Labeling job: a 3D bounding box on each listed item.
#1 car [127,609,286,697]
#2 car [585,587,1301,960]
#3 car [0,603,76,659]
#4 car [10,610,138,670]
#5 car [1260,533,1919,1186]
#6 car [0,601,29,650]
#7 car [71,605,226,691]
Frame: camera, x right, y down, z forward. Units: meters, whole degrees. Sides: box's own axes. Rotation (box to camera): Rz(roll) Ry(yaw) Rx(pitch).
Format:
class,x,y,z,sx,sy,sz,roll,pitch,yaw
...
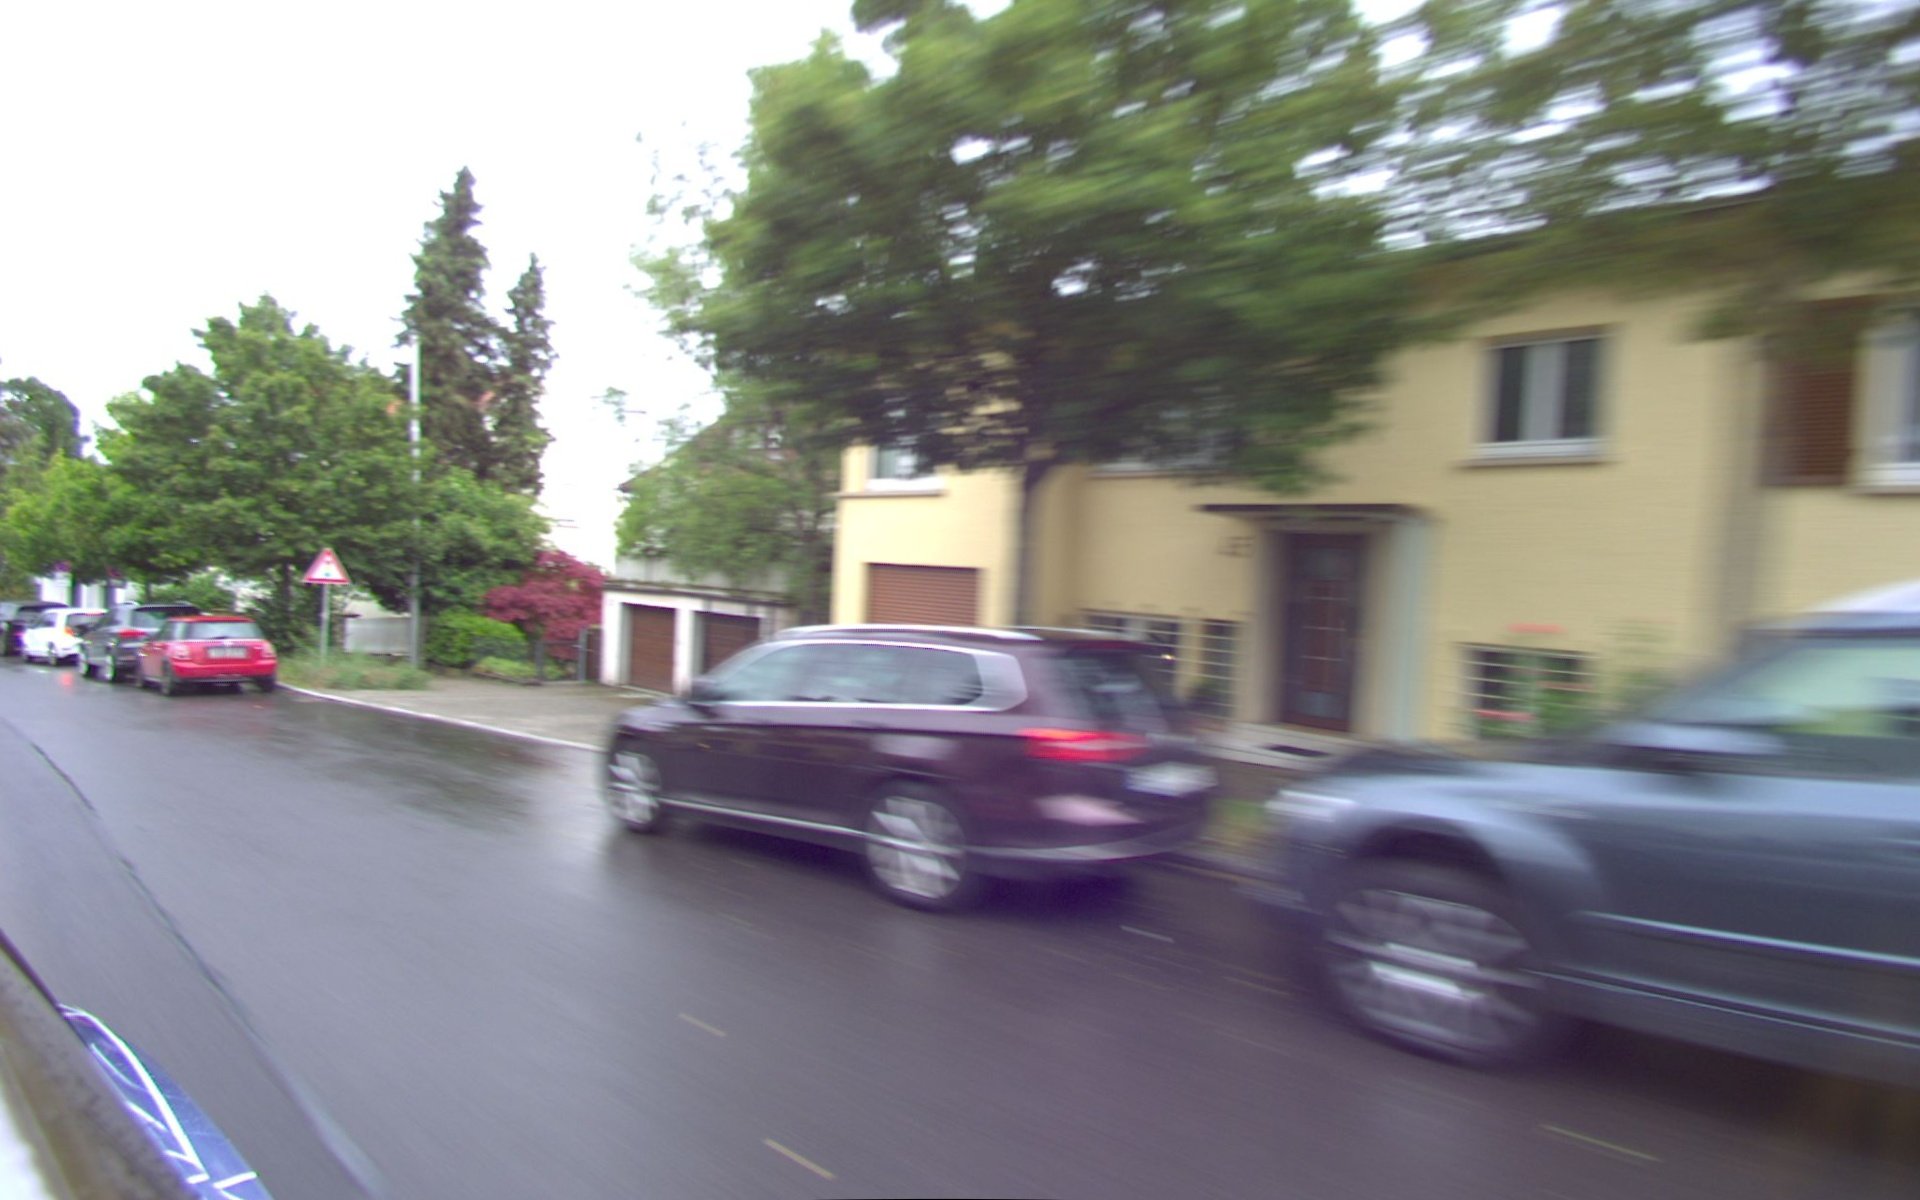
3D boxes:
class,x,y,z,sx,sy,sz,roll,pitch,yaw
car,-14.384,0.933,19.252,3.864,1.483,1.664,0,-1,42
car,-0.416,0.781,6.431,4.604,1.547,1.749,-1,-3,42
car,-28.890,0.893,31.032,4.200,1.557,1.719,0,1,35
car,-24.175,1.043,27.586,3.991,1.477,1.719,0,1,35
car,3.206,0.648,2.995,1.748,1.647,4.112,0,-1,-45
car,-33.341,0.837,33.994,4.889,1.557,1.852,0,1,33
car,-17.910,0.980,22.267,4.422,1.681,1.783,0,-1,40
